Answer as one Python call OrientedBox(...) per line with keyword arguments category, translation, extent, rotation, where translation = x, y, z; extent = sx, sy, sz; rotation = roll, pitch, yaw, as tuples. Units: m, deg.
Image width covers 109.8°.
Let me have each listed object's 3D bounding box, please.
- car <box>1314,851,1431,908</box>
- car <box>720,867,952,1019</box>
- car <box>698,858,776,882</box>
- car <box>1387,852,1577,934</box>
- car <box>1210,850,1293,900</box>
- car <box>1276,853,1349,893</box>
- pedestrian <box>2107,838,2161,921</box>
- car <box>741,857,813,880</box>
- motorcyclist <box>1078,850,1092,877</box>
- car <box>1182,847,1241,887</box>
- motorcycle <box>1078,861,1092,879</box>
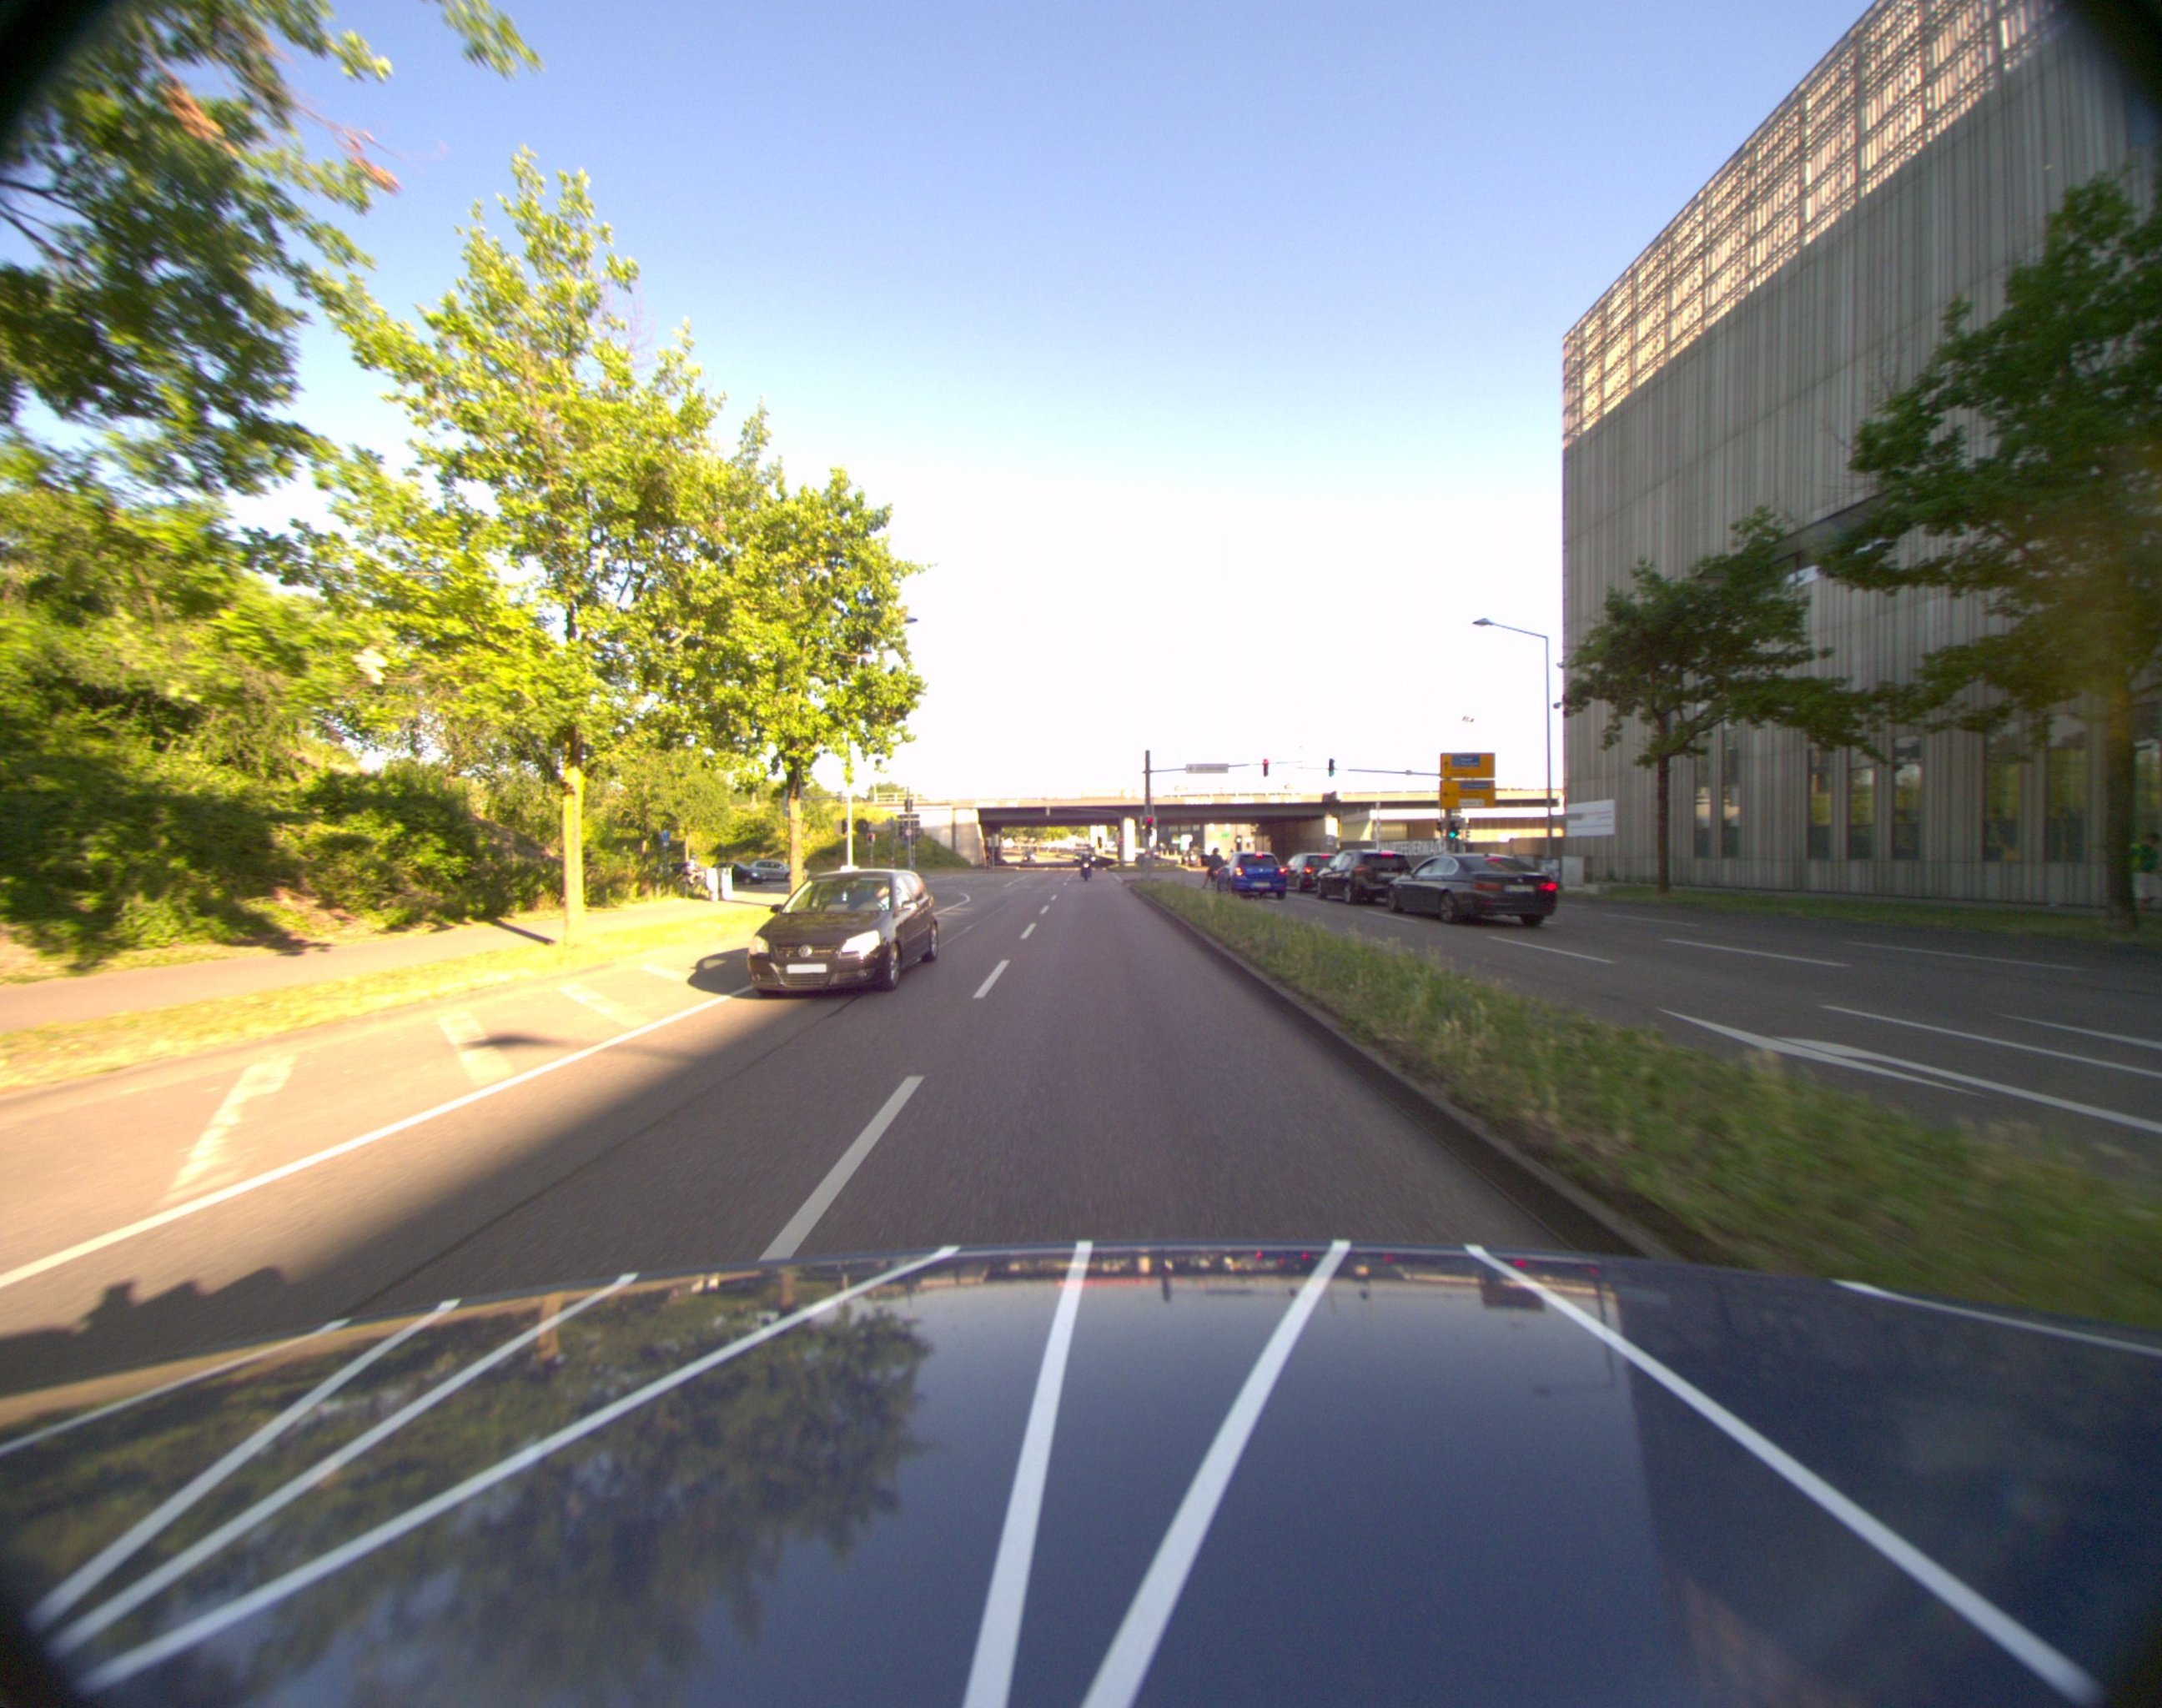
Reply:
OrientedBox(category="car", translation=(8.409, 0.686, 22.334), extent=(1.930, 1.510, 4.000), rotation=(0, 0, 1))
OrientedBox(category="car", translation=(-2.995, 0.996, 10.282), extent=(1.726, 1.490, 4.213), rotation=(-2, 0, 0))
OrientedBox(category="car", translation=(-22.663, 1.055, 50.118), extent=(4.285, 1.510, 1.932), rotation=(0, 1, 4))
OrientedBox(category="car", translation=(8.372, 0.734, 16.378), extent=(1.930, 1.510, 4.290), rotation=(0, 0, 2))
OrientedBox(category="car", translation=(5.472, 0.611, 24.896), extent=(1.840, 1.510, 3.952), rotation=(0, 0, 0))
OrientedBox(category="car", translation=(8.741, 0.674, 28.975), extent=(1.695, 1.425, 3.772), rotation=(0, 0, 1))
OrientedBox(category="pedestrian", translation=(21.376, 0.485, 15.204), extent=(0.698, 1.619, 0.725), rotation=(-1, 1, 1))
OrientedBox(category="car", translation=(-21.204, 0.992, 53.086), extent=(4.285, 1.510, 1.932), rotation=(0, 1, 4))
OrientedBox(category="motorcyclist", translation=(0.227, 0.530, 43.719), extent=(0.734, 1.503, 0.919), rotation=(0, 1, -1))
OrientedBox(category="car", translation=(5.425, 0.493, 31.994), extent=(1.930, 1.595, 4.000), rotation=(0, 0, 2))
OrientedBox(category="motorcycle", translation=(0.240, 0.916, 43.479), extent=(0.749, 0.977, 2.140), rotation=(-1, 1, 0))
